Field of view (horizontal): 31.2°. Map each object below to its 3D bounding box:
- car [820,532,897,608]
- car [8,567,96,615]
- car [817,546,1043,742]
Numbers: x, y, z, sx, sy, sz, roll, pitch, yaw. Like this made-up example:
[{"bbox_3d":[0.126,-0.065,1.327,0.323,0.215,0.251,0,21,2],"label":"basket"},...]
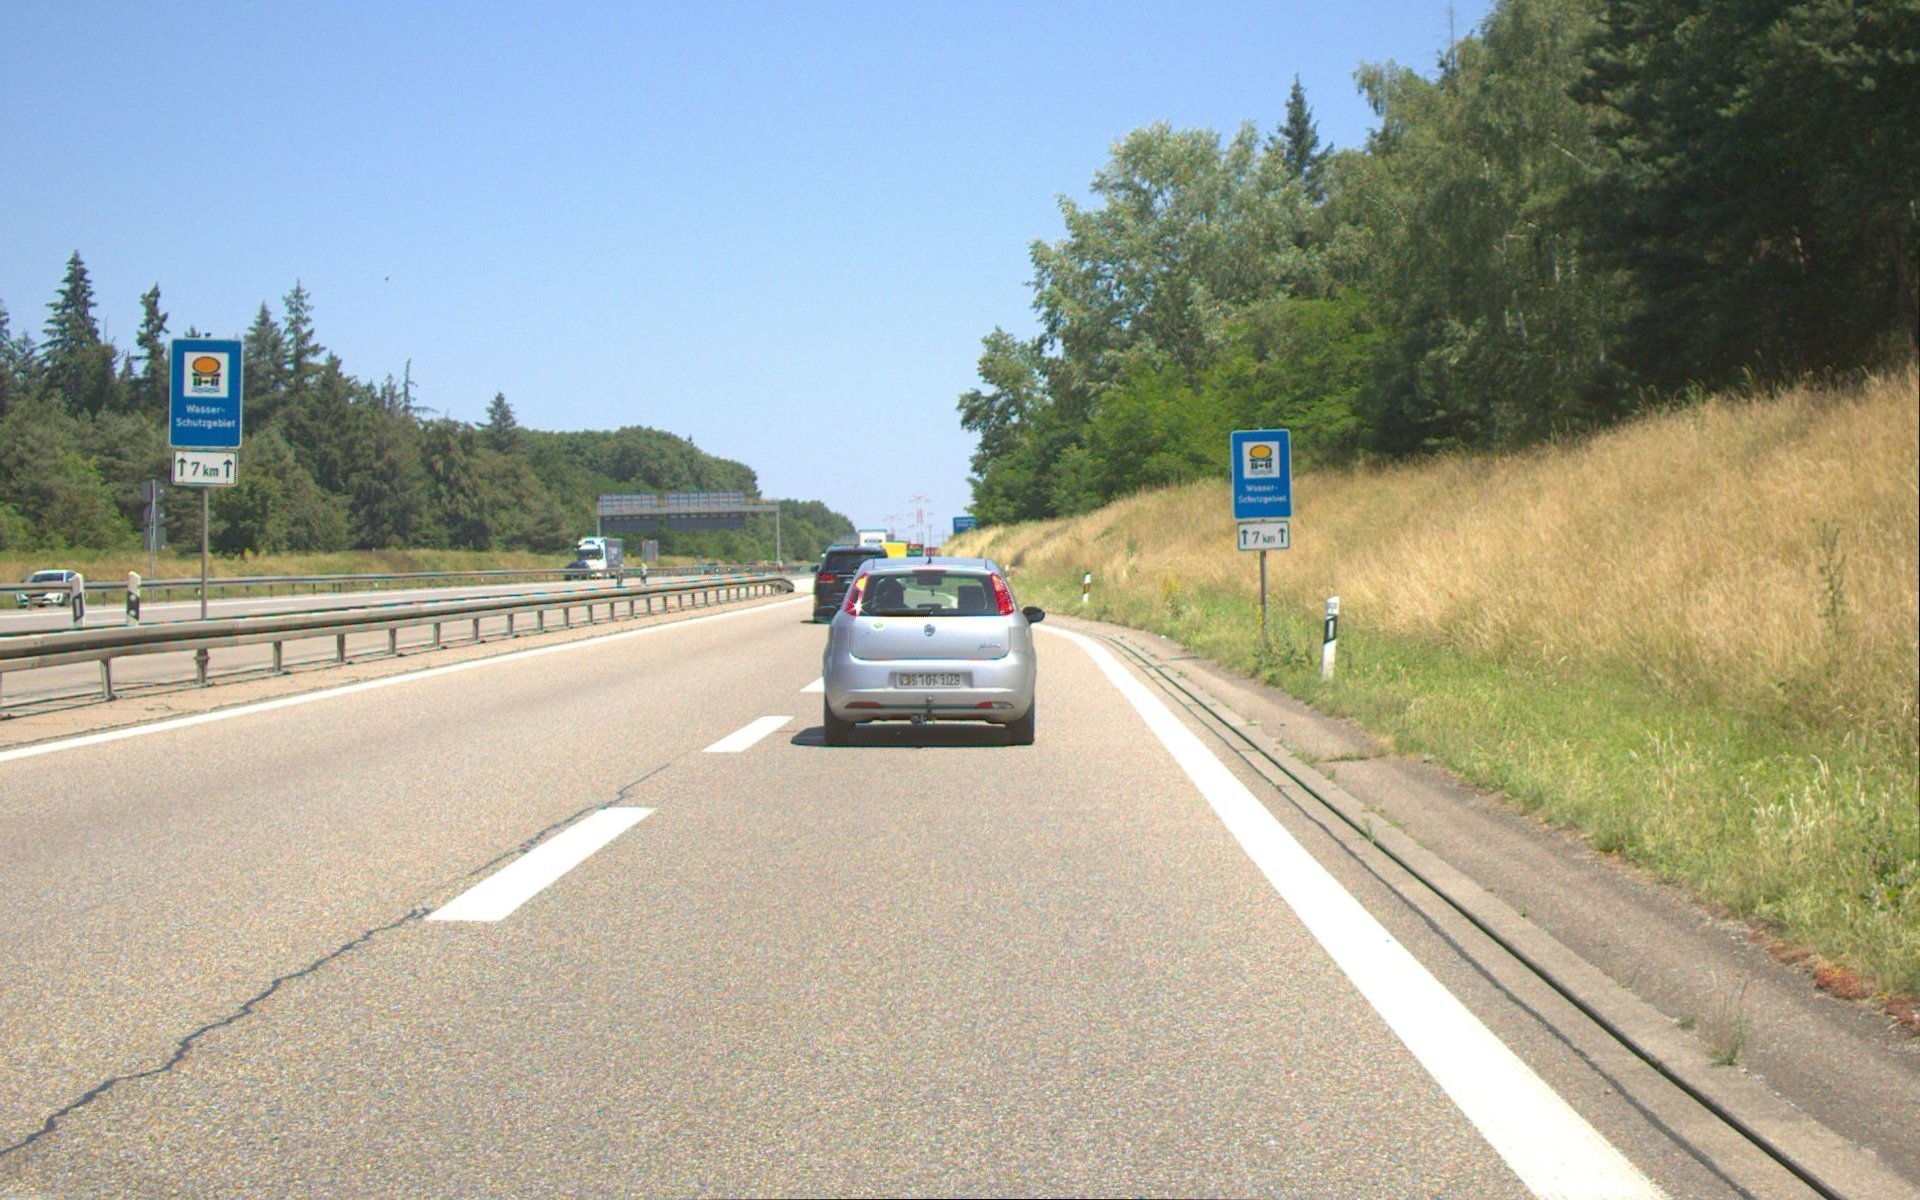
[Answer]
[{"bbox_3d":[-2.338,-0.672,78.697,1.706,1.670,3.398,-1,0,-2],"label":"car"},{"bbox_3d":[-34.921,-0.360,132.305,1.993,1.777,4.812,-1,0,1],"label":"car"},{"bbox_3d":[-0.227,0.329,27.901,1.706,1.477,3.398,1,0,0],"label":"car"}]
